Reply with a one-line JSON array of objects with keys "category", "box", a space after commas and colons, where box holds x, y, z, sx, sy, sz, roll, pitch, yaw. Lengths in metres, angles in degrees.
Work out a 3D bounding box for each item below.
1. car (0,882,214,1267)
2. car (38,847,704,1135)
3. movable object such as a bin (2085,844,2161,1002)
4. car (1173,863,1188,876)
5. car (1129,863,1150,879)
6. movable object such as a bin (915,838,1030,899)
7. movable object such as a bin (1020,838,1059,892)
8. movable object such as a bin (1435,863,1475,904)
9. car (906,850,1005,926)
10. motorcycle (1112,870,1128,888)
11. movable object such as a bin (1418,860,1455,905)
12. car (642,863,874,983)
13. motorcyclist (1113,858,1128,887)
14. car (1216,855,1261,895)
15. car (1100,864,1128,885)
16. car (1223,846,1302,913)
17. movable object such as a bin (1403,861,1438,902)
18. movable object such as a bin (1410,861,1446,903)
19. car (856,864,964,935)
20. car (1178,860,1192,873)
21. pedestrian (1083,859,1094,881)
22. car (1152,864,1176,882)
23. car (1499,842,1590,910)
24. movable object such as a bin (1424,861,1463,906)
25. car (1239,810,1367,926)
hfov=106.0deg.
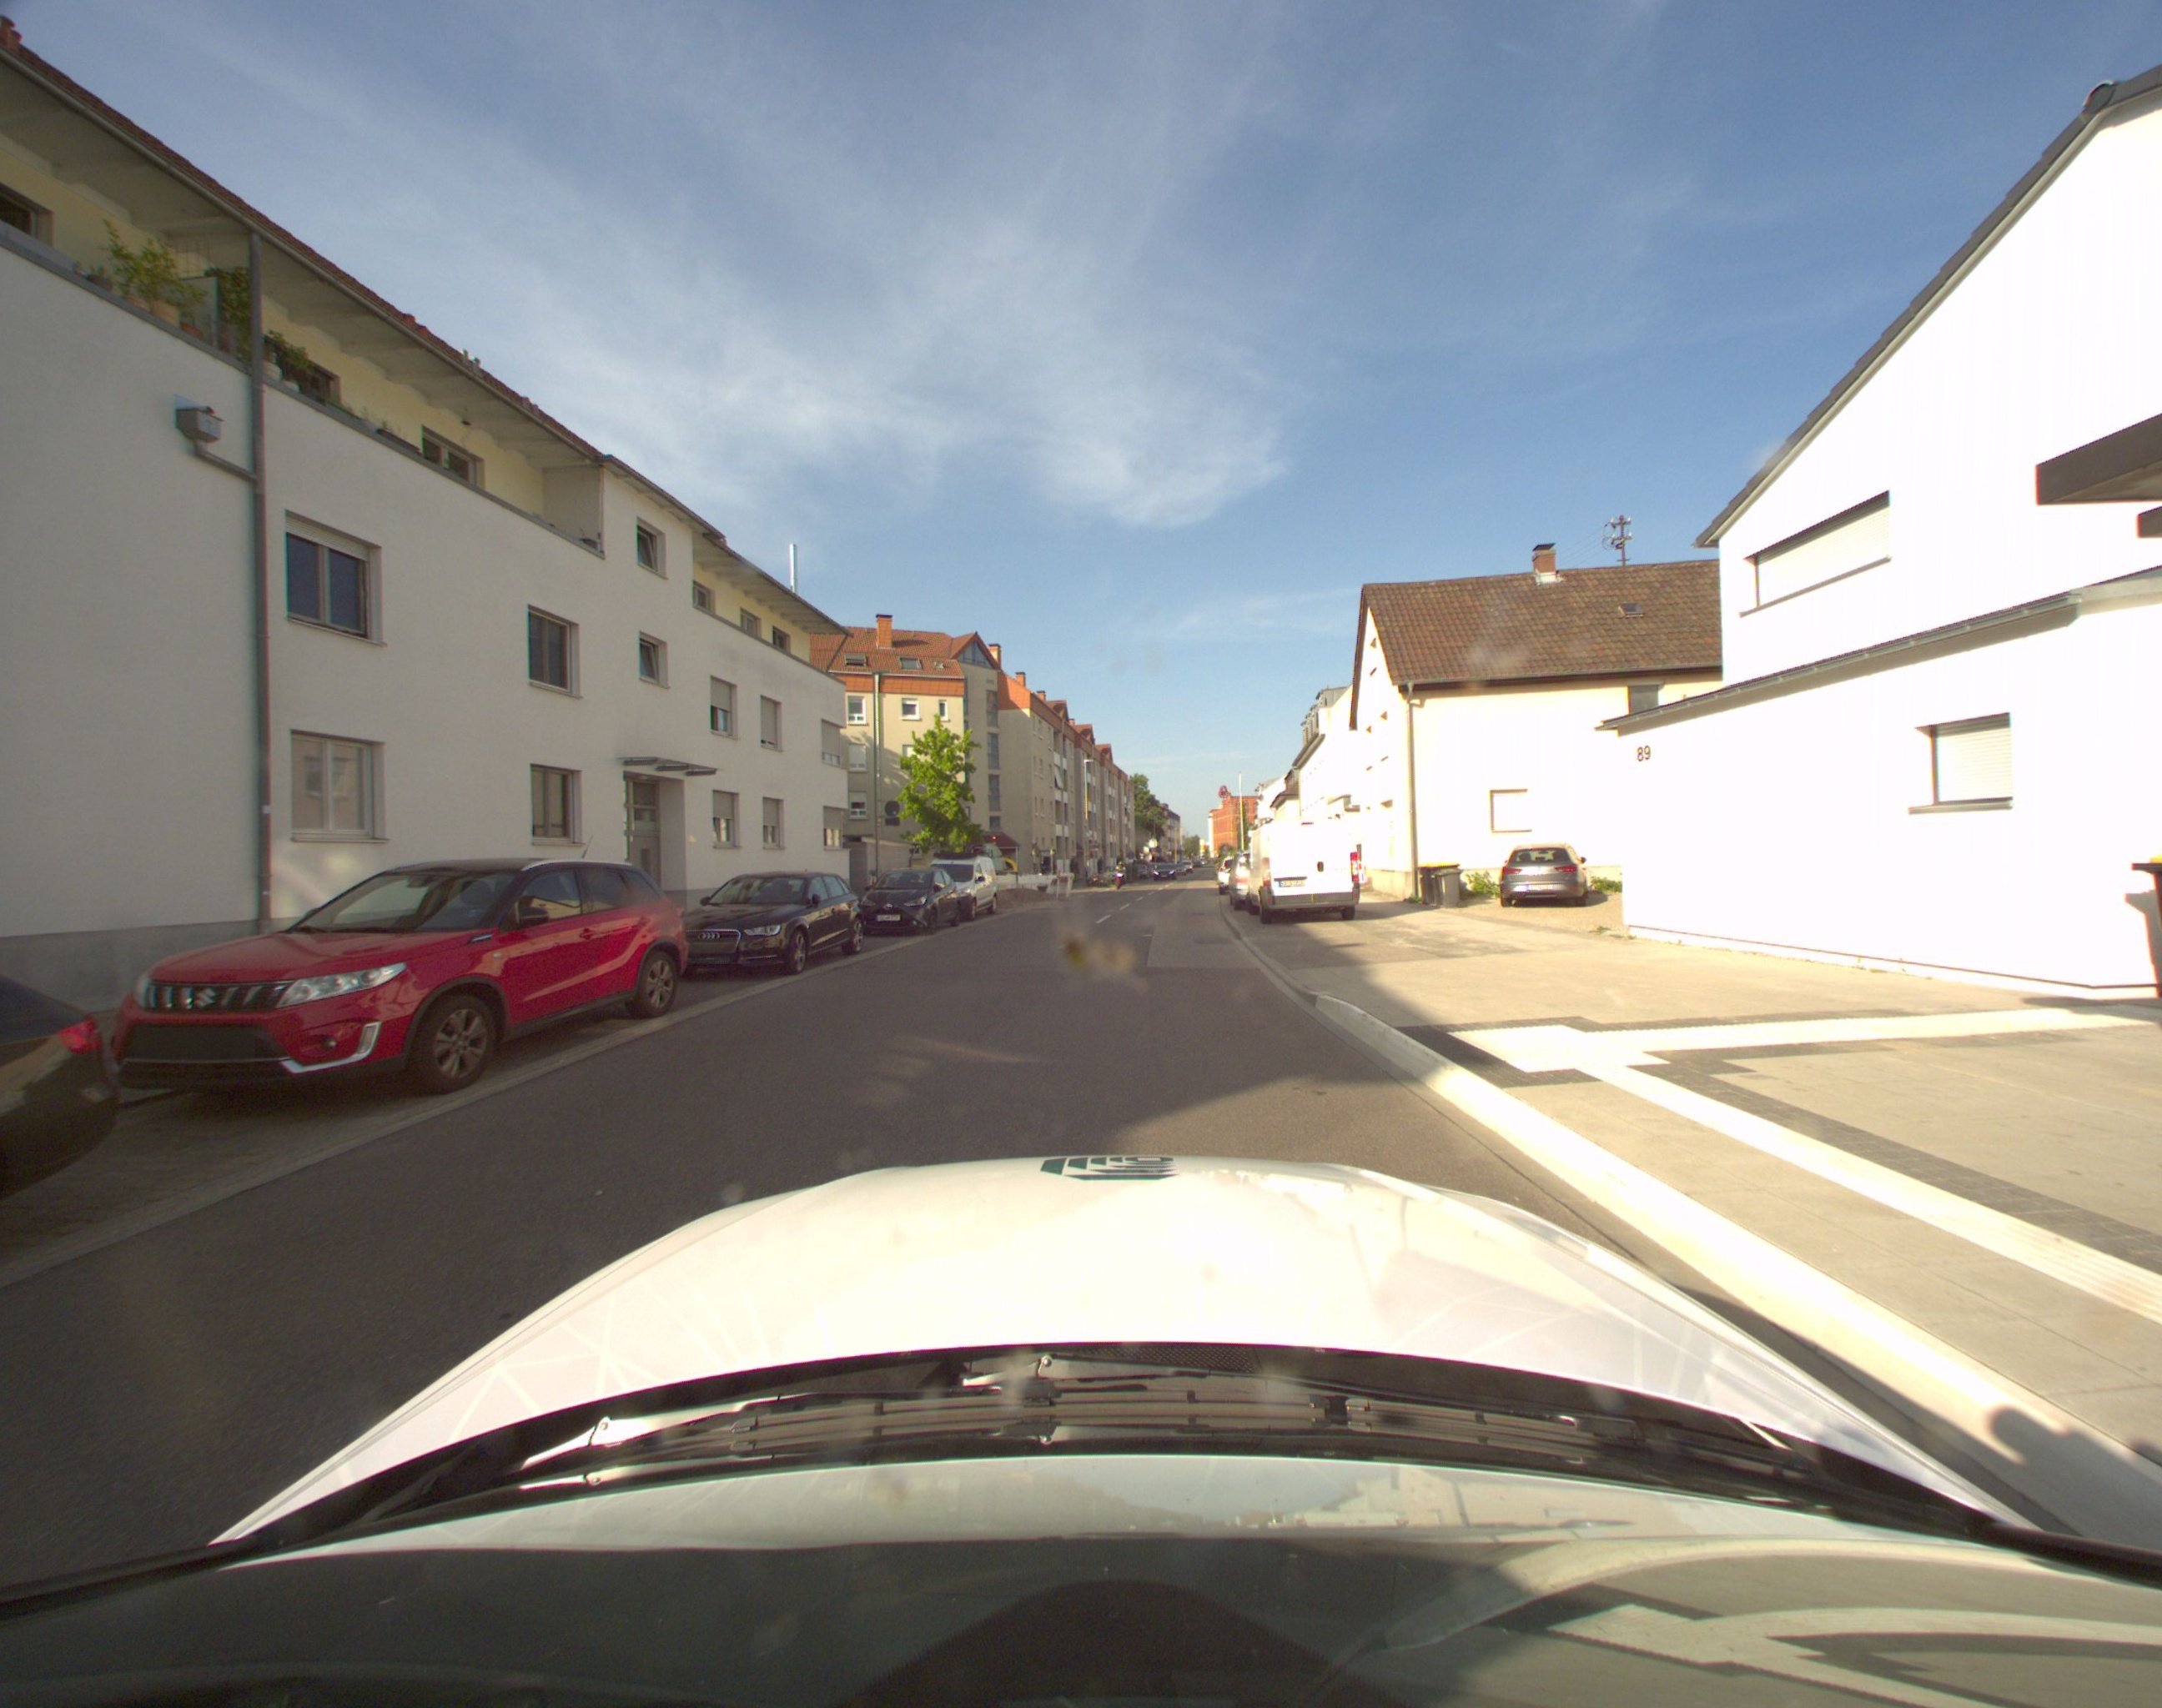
[{"category": "car", "box": [-5.108, 0.867, 1.691, 1.721, 1.478, 4.503, 0, 0, 1]}, {"category": "car", "box": [-5.090, 0.791, 6.831, 1.720, 1.622, 4.265, -1, 0, 2]}, {"category": "movable object such as a bin", "box": [7.977, 0.478, 5.738, 0.808, 1.093, 0.768, -2, -1, 2]}, {"category": "car", "box": [11.947, 1.894, 97.942, 1.608, 1.455, 3.694, -2, -1, 8]}, {"category": "car", "box": [5.579, 1.622, 77.784, 1.676, 1.406, 4.093, -1, -1, 9]}, {"category": "movable object such as a bin", "box": [-5.296, 0.673, 40.357, 5.489, 2.900, 2.108, 0, 0, -6]}, {"category": "movable object such as a bin", "box": [-2.518, 0.644, 50.239, 1.638, 3.138, 3.909, -2, 0, 8]}, {"category": "movable object such as a bin", "box": [8.996, 0.714, 19.604, 0.724, 0.959, 0.554, -1, -1, 7]}, {"category": "car", "box": [-3.506, 0.904, 23.602, 1.718, 1.960, 4.447, -1, 0, 7]}, {"category": "motorcycle", "box": [2.316, 1.469, 47.761, 0.764, 0.985, 2.203, -2, 0, 7]}, {"category": "movable object such as a bin", "box": [9.133, 0.724, 20.944, 0.724, 1.132, 0.554, -1, -1, 7]}, {"category": "car", "box": [-4.650, 0.904, 12.481, 1.720, 1.478, 4.265, -1, 0, 2]}, {"category": "motorcyclist", "box": [2.312, 1.078, 47.827, 0.765, 1.652, 0.845, -2, -1, 7]}, {"category": "car", "box": [7.174, 0.912, 37.407, 1.801, 1.683, 4.488, -3, -1, 9]}, {"category": "car", "box": [2.461, 1.509, 59.969, 1.631, 1.395, 3.679, -2, -1, 8]}, {"category": "car", "box": [5.315, 0.707, 24.347, 1.768, 1.741, 4.492, -3, -1, 7]}, {"category": "movable object such as a bin", "box": [9.254, 0.748, 22.204, 0.724, 1.093, 0.626, -1, -1, 7]}, {"category": "movable object such as a bin", "box": [9.185, 0.736, 21.595, 0.724, 1.093, 0.554, -1, -1, 7]}, {"category": "car", "box": [-3.816, 0.970, 18.717, 1.486, 1.465, 3.518, 0, 0, 5]}, {"category": "car", "box": [15.107, 1.787, 118.549, 1.911, 1.767, 4.348, -2, -1, 8]}, {"category": "pedestrian", "box": [0.629, 1.387, 68.885, 0.714, 1.818, 0.747, -2, -1, 10]}, {"category": "car", "box": [7.204, 1.634, 70.683, 1.819, 1.420, 4.218, -2, -1, 8]}, {"category": "car", "box": [11.063, 0.466, 19.326, 1.640, 1.407, 4.004, -3, -1, 32]}, {"category": "movable object such as a bin", "box": [9.057, 0.732, 20.359, 0.724, 1.093, 0.554, -2, -1, 7]}, {"category": "car", "box": [5.121, 0.300, 19.523, 2.163, 2.327, 5.007, -3, -1, 7]}]
